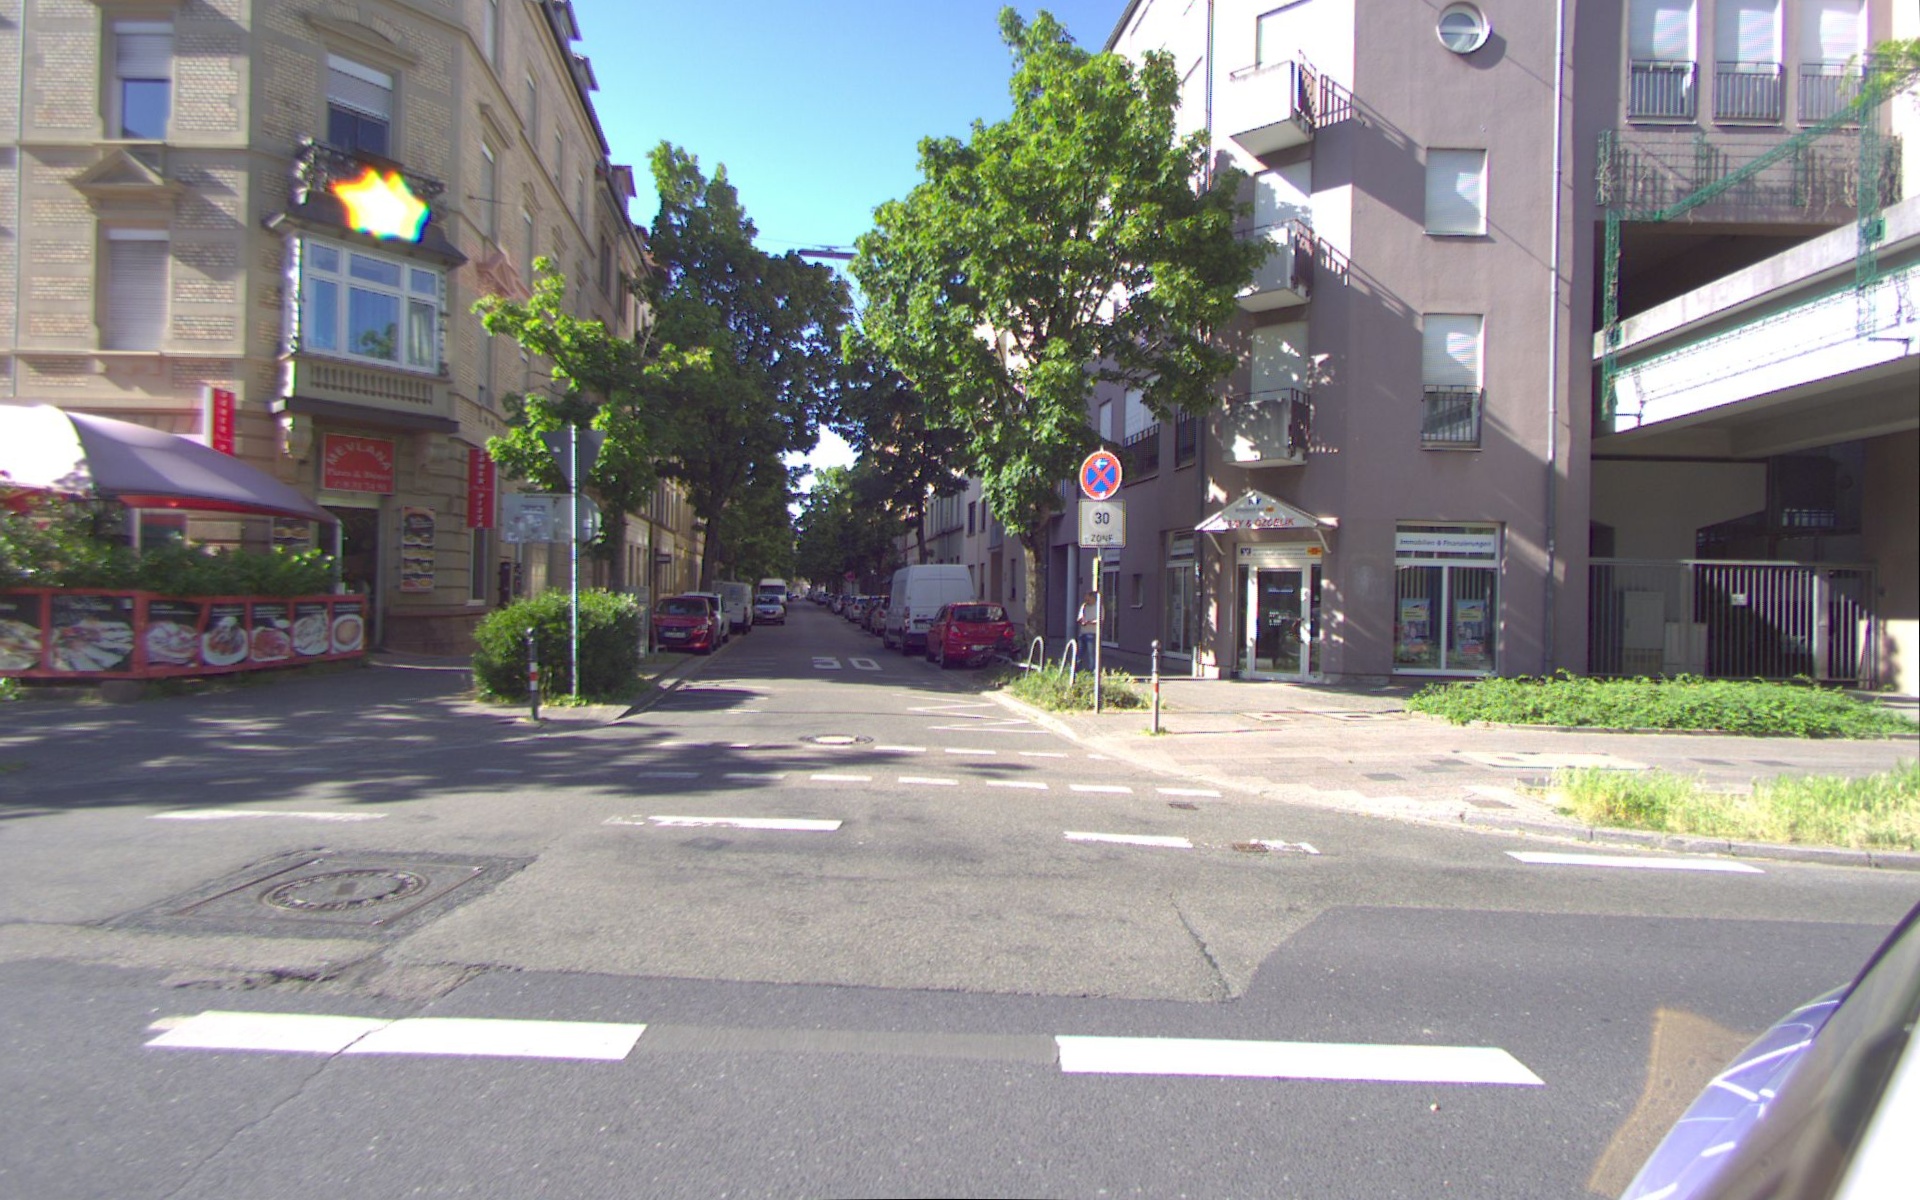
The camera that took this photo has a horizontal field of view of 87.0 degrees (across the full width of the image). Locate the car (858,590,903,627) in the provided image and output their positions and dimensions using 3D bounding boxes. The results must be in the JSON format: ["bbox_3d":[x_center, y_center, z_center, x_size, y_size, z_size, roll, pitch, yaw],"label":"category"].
[{"bbox_3d":[-3.636,0.352,45.802,1.749,1.576,3.828,1,1,-9],"label":"car"}]

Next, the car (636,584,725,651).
[{"bbox_3d":[-7.060,0.438,25.906,1.742,1.459,4.006,4,-1,-10],"label":"car"}]

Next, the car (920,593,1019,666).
[{"bbox_3d":[0.139,0.620,23.588,1.658,1.481,4.007,1,1,-9],"label":"car"}]

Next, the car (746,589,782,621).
[{"bbox_3d":[-9.778,0.244,50.672,1.659,1.492,4.006,1,-1,-10],"label":"car"}]

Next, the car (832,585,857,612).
[{"bbox_3d":[-8.615,-0.110,75.383,1.741,1.905,4.006,1,1,-8],"label":"car"}]

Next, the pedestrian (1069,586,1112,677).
[{"bbox_3d":[2.355,0.558,18.229,0.627,1.596,0.527,1,0,25],"label":"pedestrian"}]

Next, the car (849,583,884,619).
[{"bbox_3d":[-5.228,0.022,56.205,1.741,1.905,4.006,1,0,-8],"label":"car"}]

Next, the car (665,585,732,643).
[{"bbox_3d":[-7.861,0.410,30.735,1.659,1.616,4.006,1,-1,-10],"label":"car"}]

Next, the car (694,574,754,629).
[{"bbox_3d":[-9.329,0.073,40.333,1.956,2.055,4.309,1,-1,-9],"label":"car"}]

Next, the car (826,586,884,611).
[{"bbox_3d":[-7.414,-0.082,71.000,3.918,1.607,1.820,1,-2,-9],"label":"car"}]

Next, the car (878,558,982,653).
[{"bbox_3d":[-0.994,0.111,29.420,2.174,2.482,5.104,1,1,-11],"label":"car"}]

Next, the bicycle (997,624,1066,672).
[{"bbox_3d":[1.292,0.873,18.302,1.178,0.833,0.294,1,0,-9],"label":"bicycle"}]

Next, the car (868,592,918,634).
[{"bbox_3d":[-2.746,0.478,41.019,1.660,1.576,3.828,1,1,-9],"label":"car"}]

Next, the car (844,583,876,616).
[{"bbox_3d":[-6.165,-0.057,62.136,1.741,1.905,4.006,1,1,-8],"label":"car"}]

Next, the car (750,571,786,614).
[{"bbox_3d":[-12.722,-0.429,67.213,2.229,2.696,4.328,1,-2,-10],"label":"car"}]
